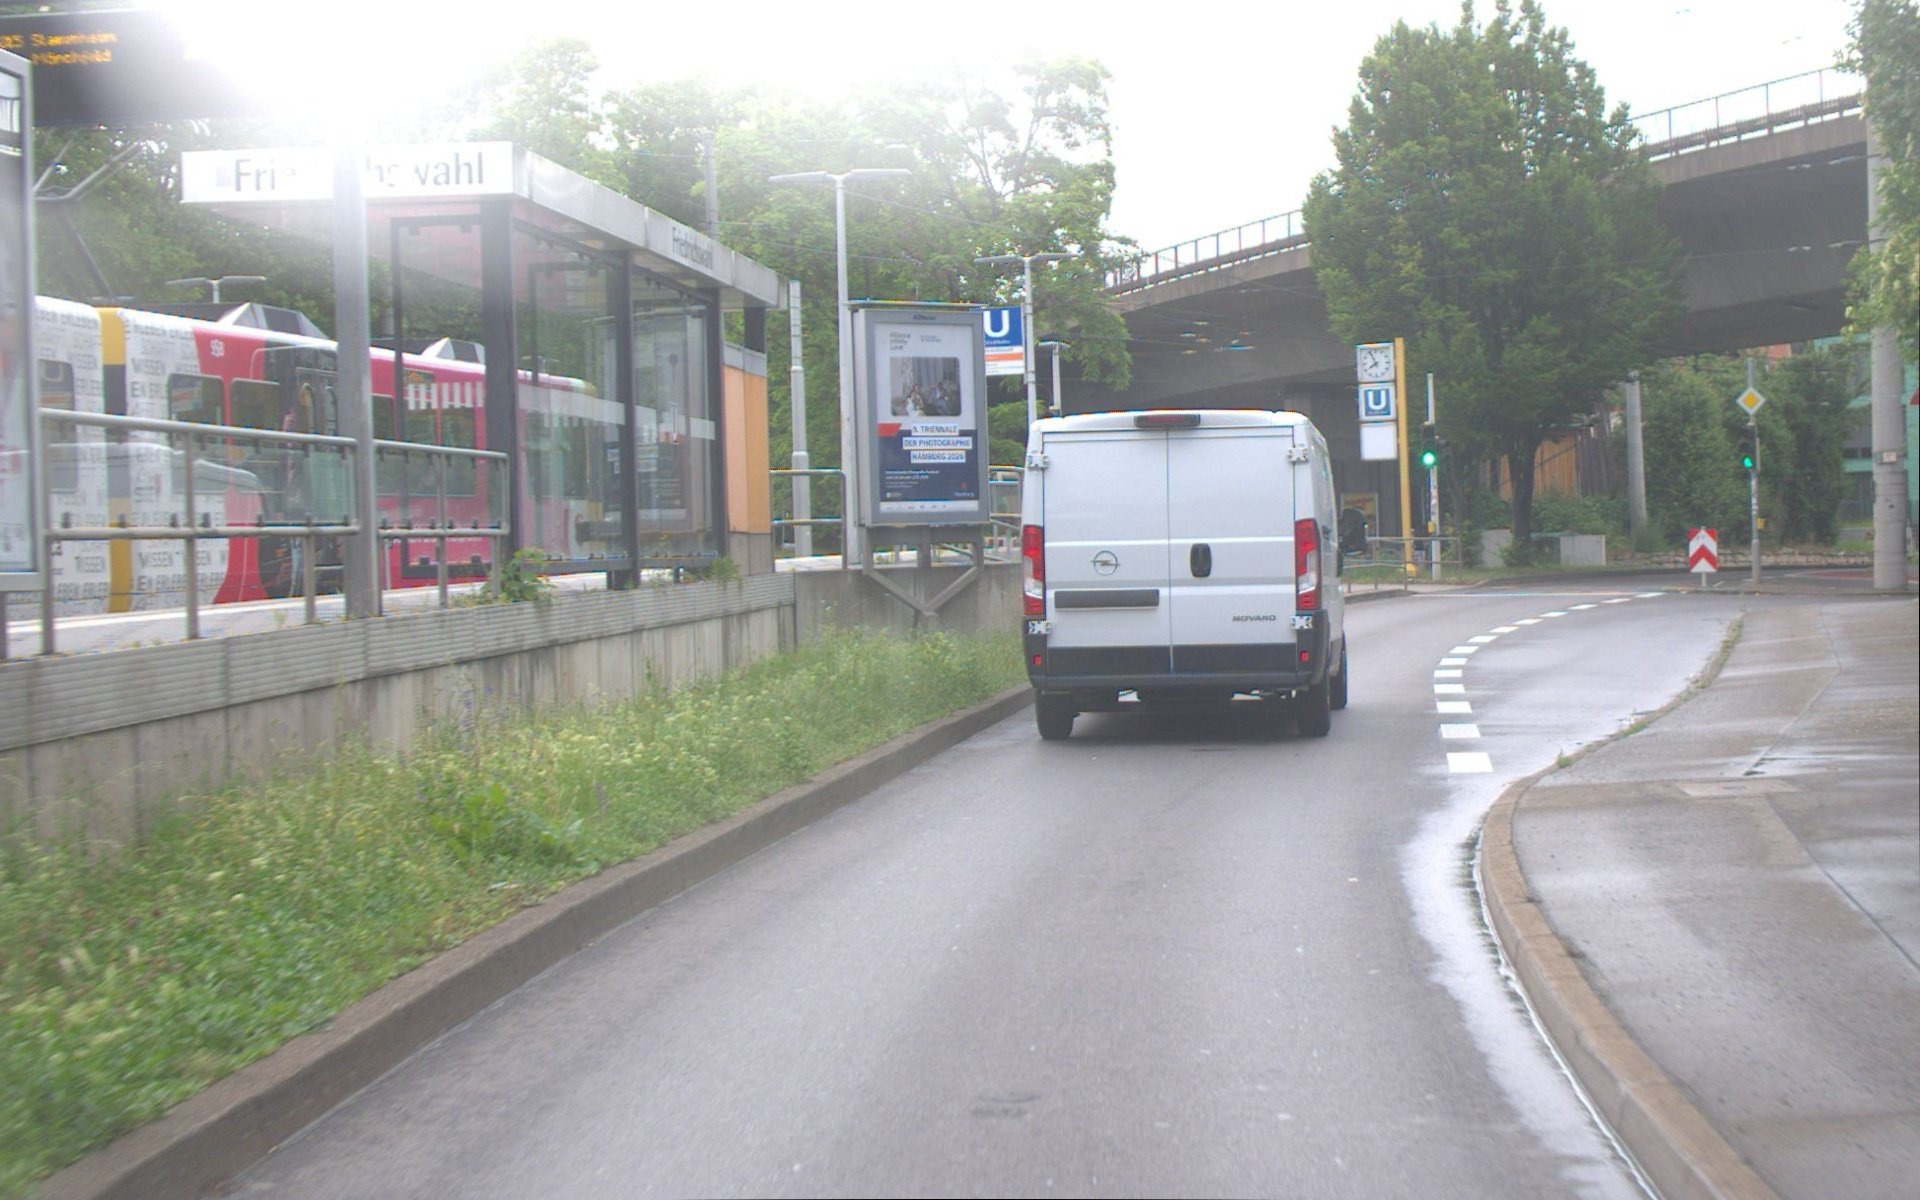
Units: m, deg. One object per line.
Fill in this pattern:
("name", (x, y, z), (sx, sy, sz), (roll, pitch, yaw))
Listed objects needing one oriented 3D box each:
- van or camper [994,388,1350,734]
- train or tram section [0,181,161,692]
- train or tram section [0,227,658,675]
("van or camper", (1.653, -0.295, 25.025), (2.199, 2.245, 4.682), (1, 1, 8))
("train or tram section", (-9.438, -1.206, 20.870), (2.868, 3.957, 19.327), (1, 1, 6))
("train or tram section", (-7.139, -1.460, 40.116), (2.869, 3.947, 19.325), (1, 1, 8))
